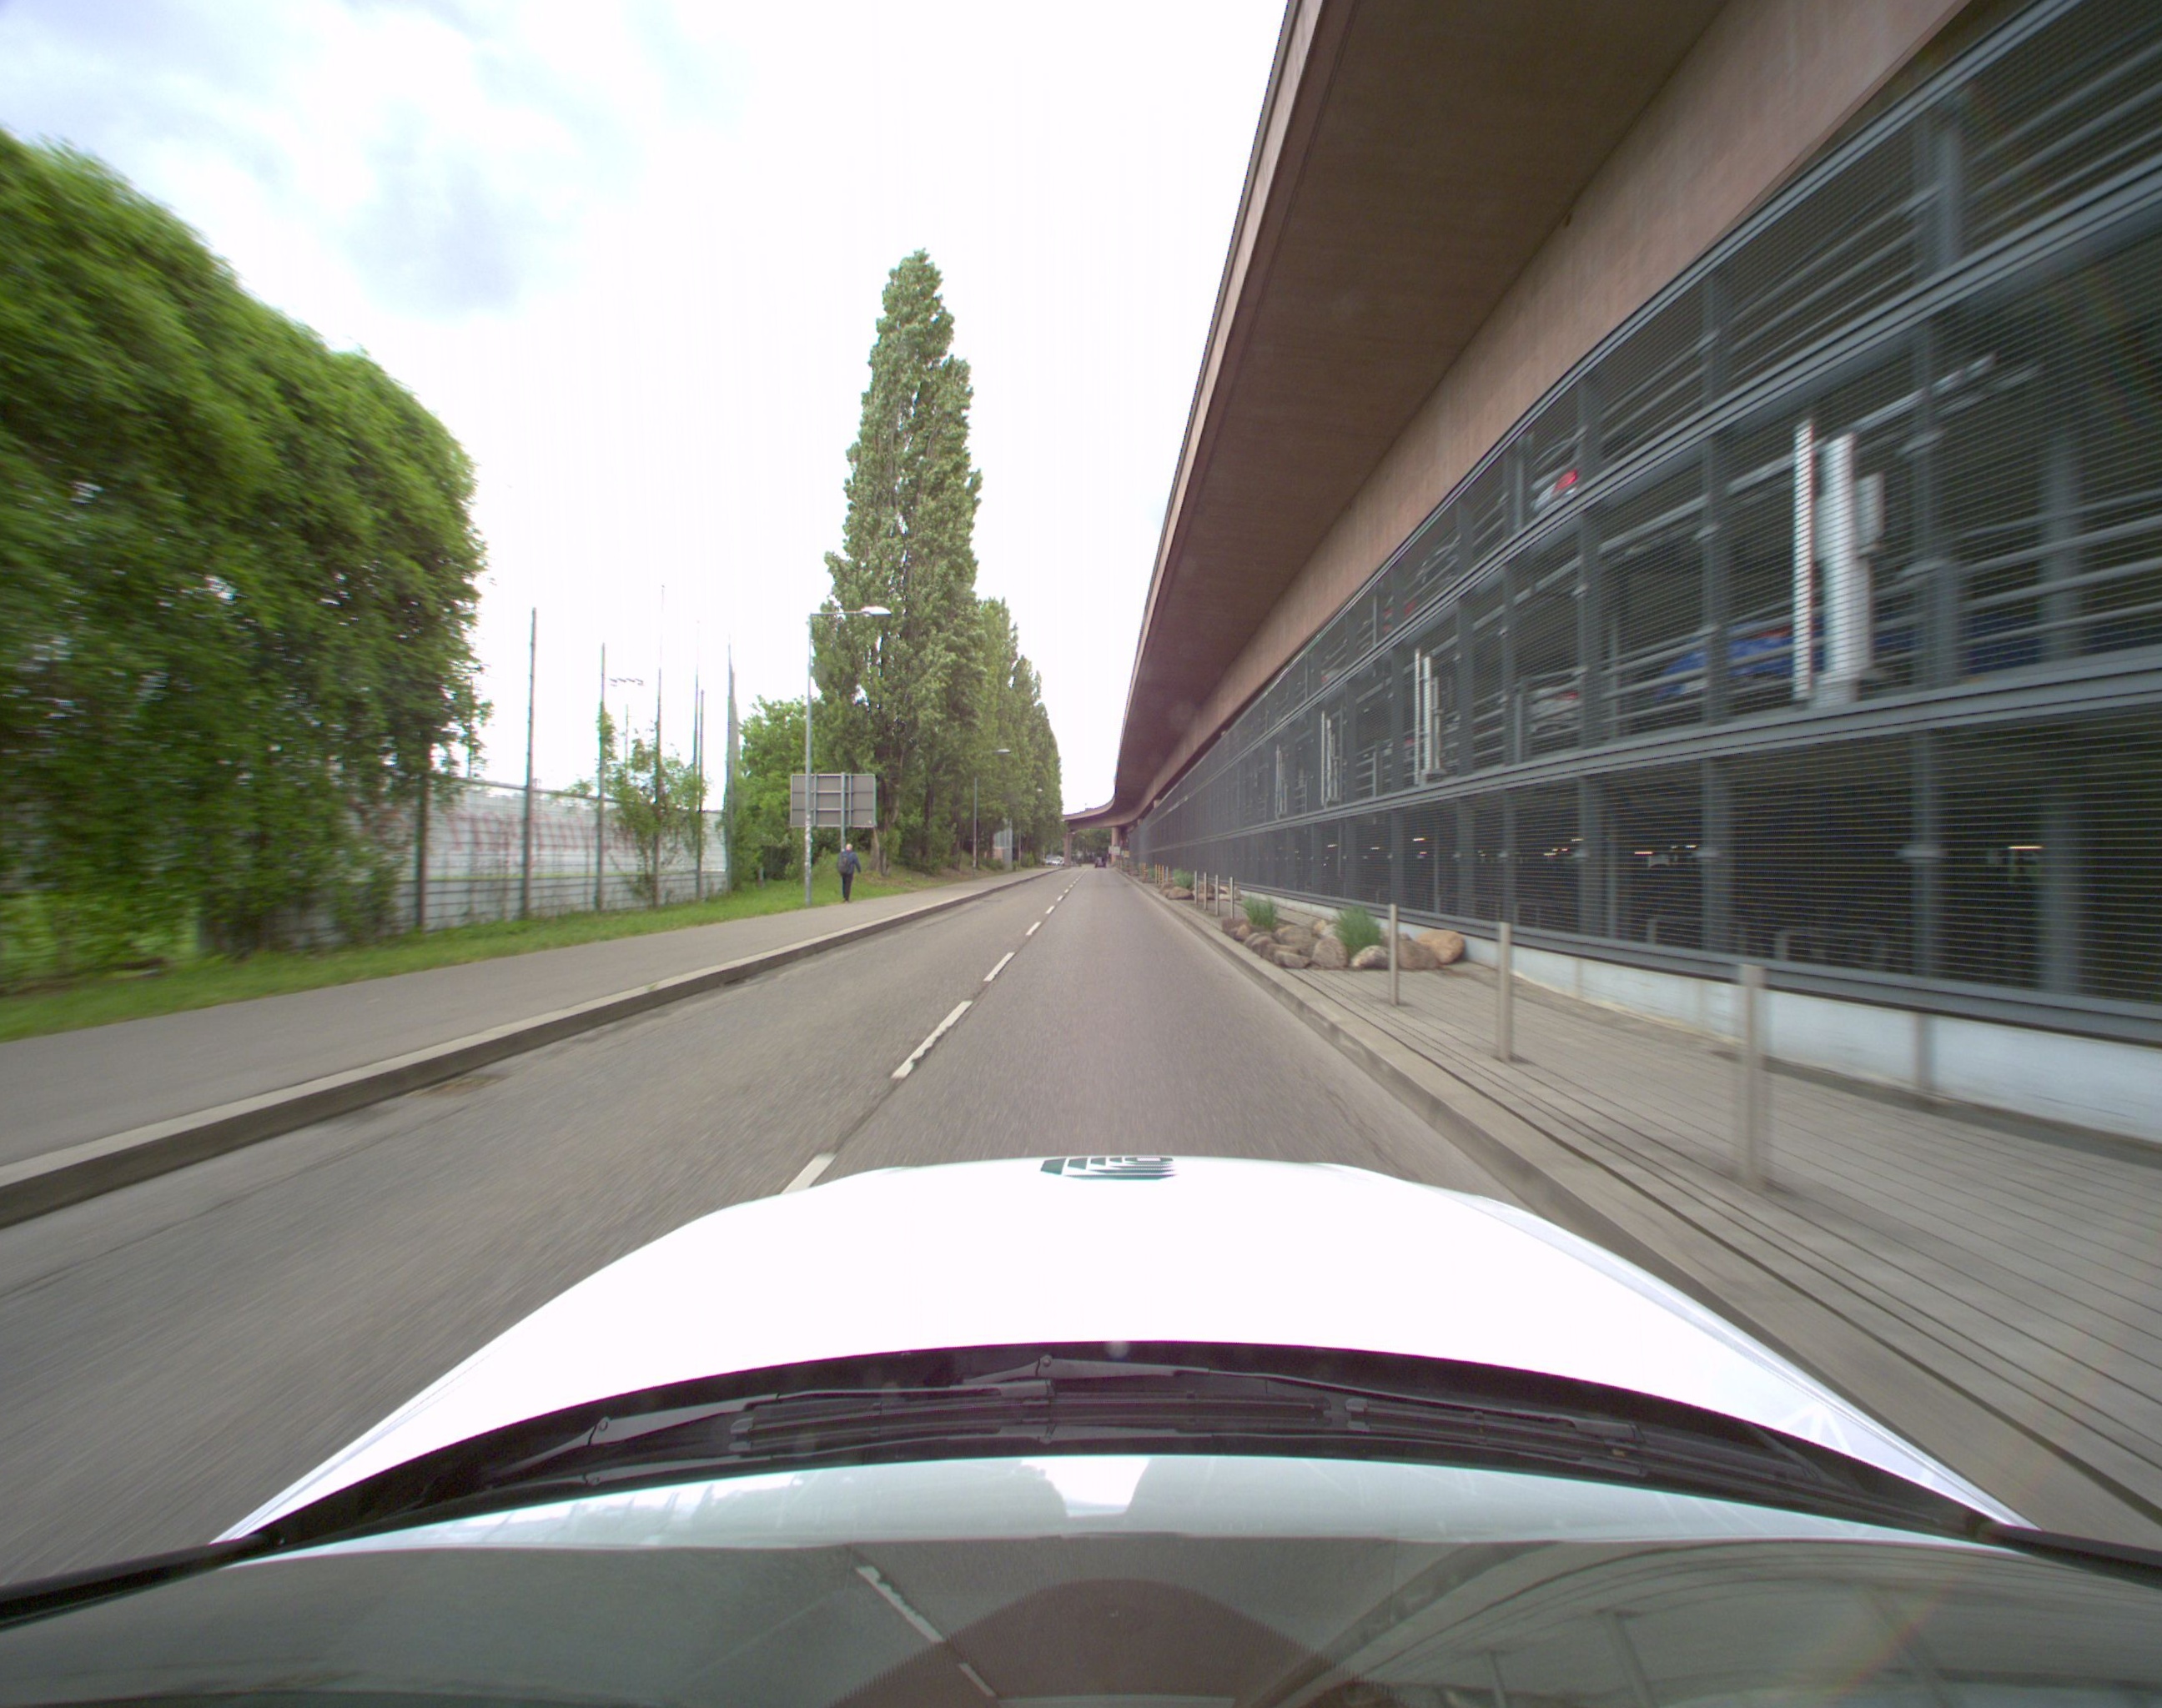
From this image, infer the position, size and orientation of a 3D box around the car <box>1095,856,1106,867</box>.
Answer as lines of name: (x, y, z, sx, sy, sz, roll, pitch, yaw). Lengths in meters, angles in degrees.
car: (3.299, 1.238, 134.953, 1.833, 1.711, 3.707, 0, 1, 1)

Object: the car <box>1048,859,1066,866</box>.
car: (-5.939, 2.076, 201.881, 1.862, 1.716, 4.179, 1, 1, 42)

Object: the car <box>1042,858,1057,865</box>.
car: (-8.103, 1.893, 209.688, 1.704, 1.716, 3.695, 1, 1, 42)

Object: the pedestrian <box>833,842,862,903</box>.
pedestrian: (-7.051, 0.541, 24.619, 0.805, 1.780, 0.916, 0, 1, -15)

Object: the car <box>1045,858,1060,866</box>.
car: (-7.276, 1.987, 206.261, 1.704, 1.716, 3.695, 1, 1, 42)
